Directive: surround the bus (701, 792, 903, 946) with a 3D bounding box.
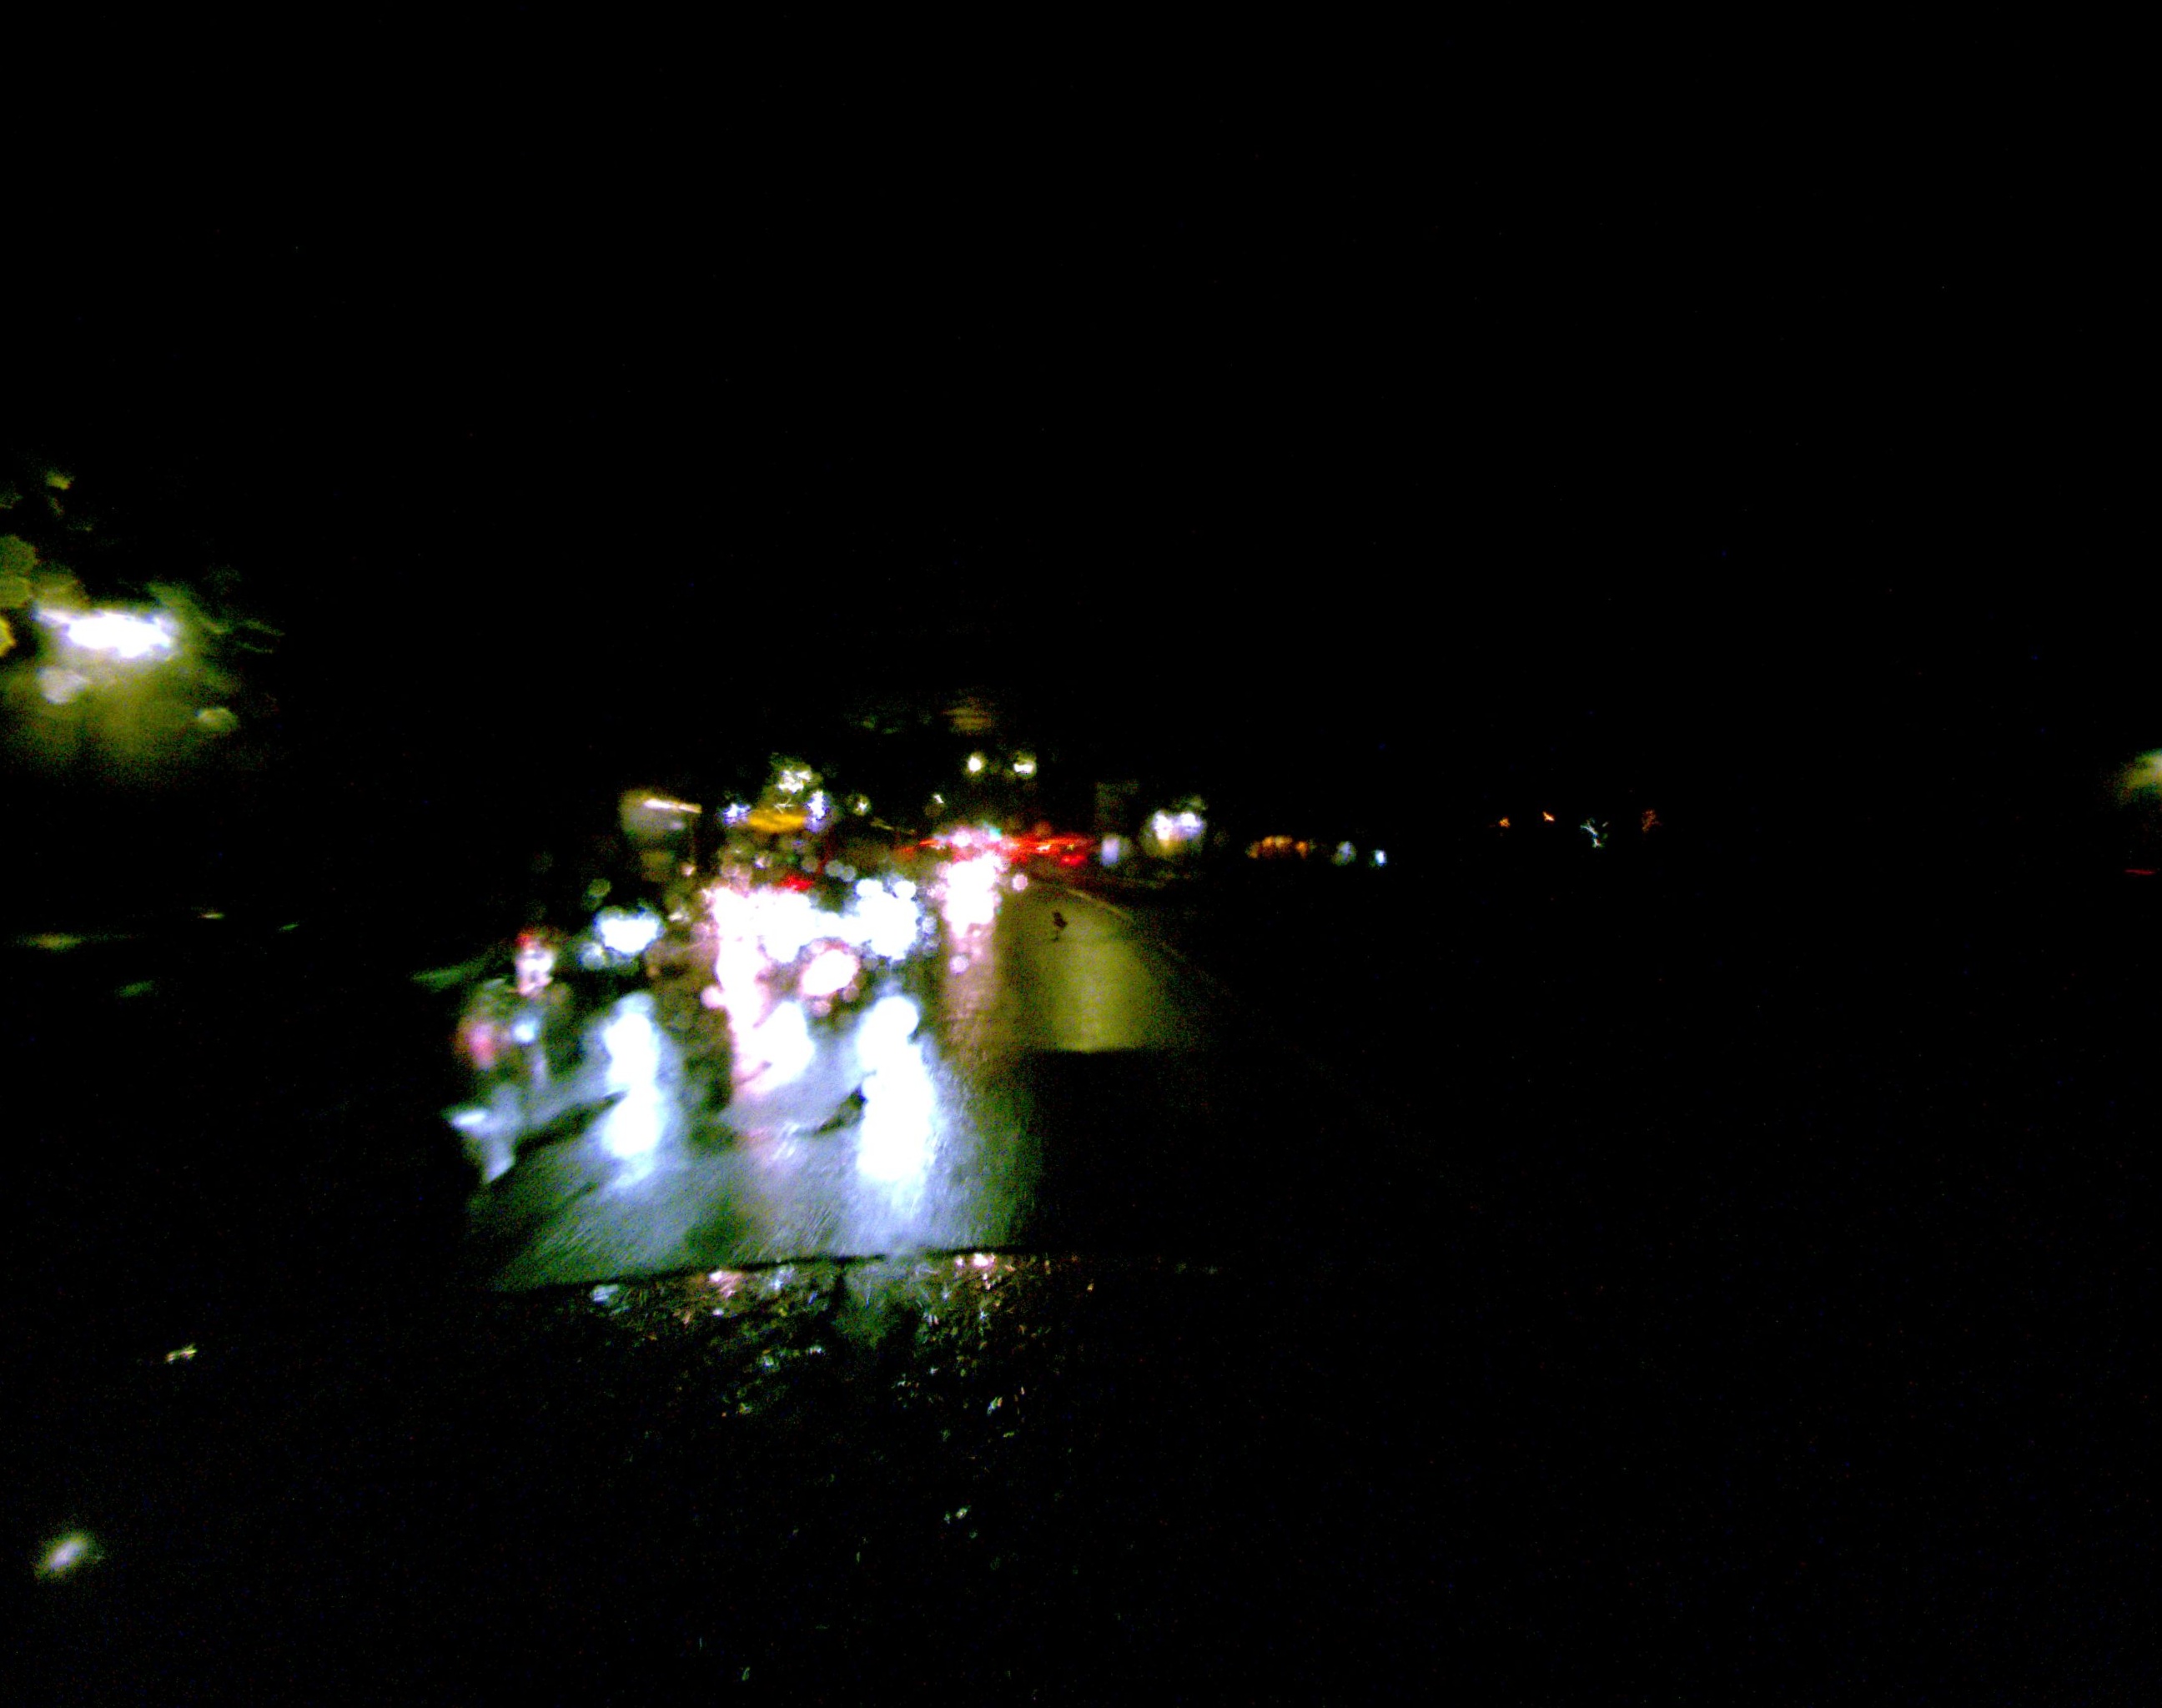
[{"bbox_3d":[-7.136,0.286,21.256,2.742,3.258,9.695,-2,1,-5],"label":"bus"}]

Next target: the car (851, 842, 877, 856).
[{"bbox_3d":[-23.003,-0.505,80.458,1.712,1.382,3.990,-2,1,-31],"label":"car"}]

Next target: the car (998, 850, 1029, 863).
[{"bbox_3d":[-7.952,0.297,89.378,1.904,1.381,4.601,-2,1,-29],"label":"car"}]

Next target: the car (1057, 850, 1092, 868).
[{"bbox_3d":[-0.630,0.469,69.146,1.603,1.528,4.303,-2,1,-24],"label":"car"}]

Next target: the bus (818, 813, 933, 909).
[{"bbox_3d":[-7.982,0.220,30.885,2.742,3.219,9.694,-2,1,-5],"label":"bus"}]

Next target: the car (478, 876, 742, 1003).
[{"bbox_3d":[-6.965,1.163,11.840,1.725,1.478,4.160,0,0,-4],"label":"car"}]

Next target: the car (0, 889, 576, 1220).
[{"bbox_3d":[-6.414,1.139,5.930,1.724,1.478,4.786,-1,0,0],"label":"car"}]

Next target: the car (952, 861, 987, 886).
[{"bbox_3d":[-6.949,1.175,46.983,1.757,1.438,3.968,0,0,-14],"label":"car"}]

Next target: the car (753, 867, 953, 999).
[{"bbox_3d":[-3.265,1.043,11.783,1.724,1.478,4.162,-4,0,0],"label":"car"}]

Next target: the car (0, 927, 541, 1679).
[{"bbox_3d":[-3.178,1.057,1.140,1.724,1.438,4.162,-1,0,0],"label":"car"}]

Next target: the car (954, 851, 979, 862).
[{"bbox_3d":[-15.332,0.372,101.490,1.903,1.381,4.830,-2,1,-26],"label":"car"}]
